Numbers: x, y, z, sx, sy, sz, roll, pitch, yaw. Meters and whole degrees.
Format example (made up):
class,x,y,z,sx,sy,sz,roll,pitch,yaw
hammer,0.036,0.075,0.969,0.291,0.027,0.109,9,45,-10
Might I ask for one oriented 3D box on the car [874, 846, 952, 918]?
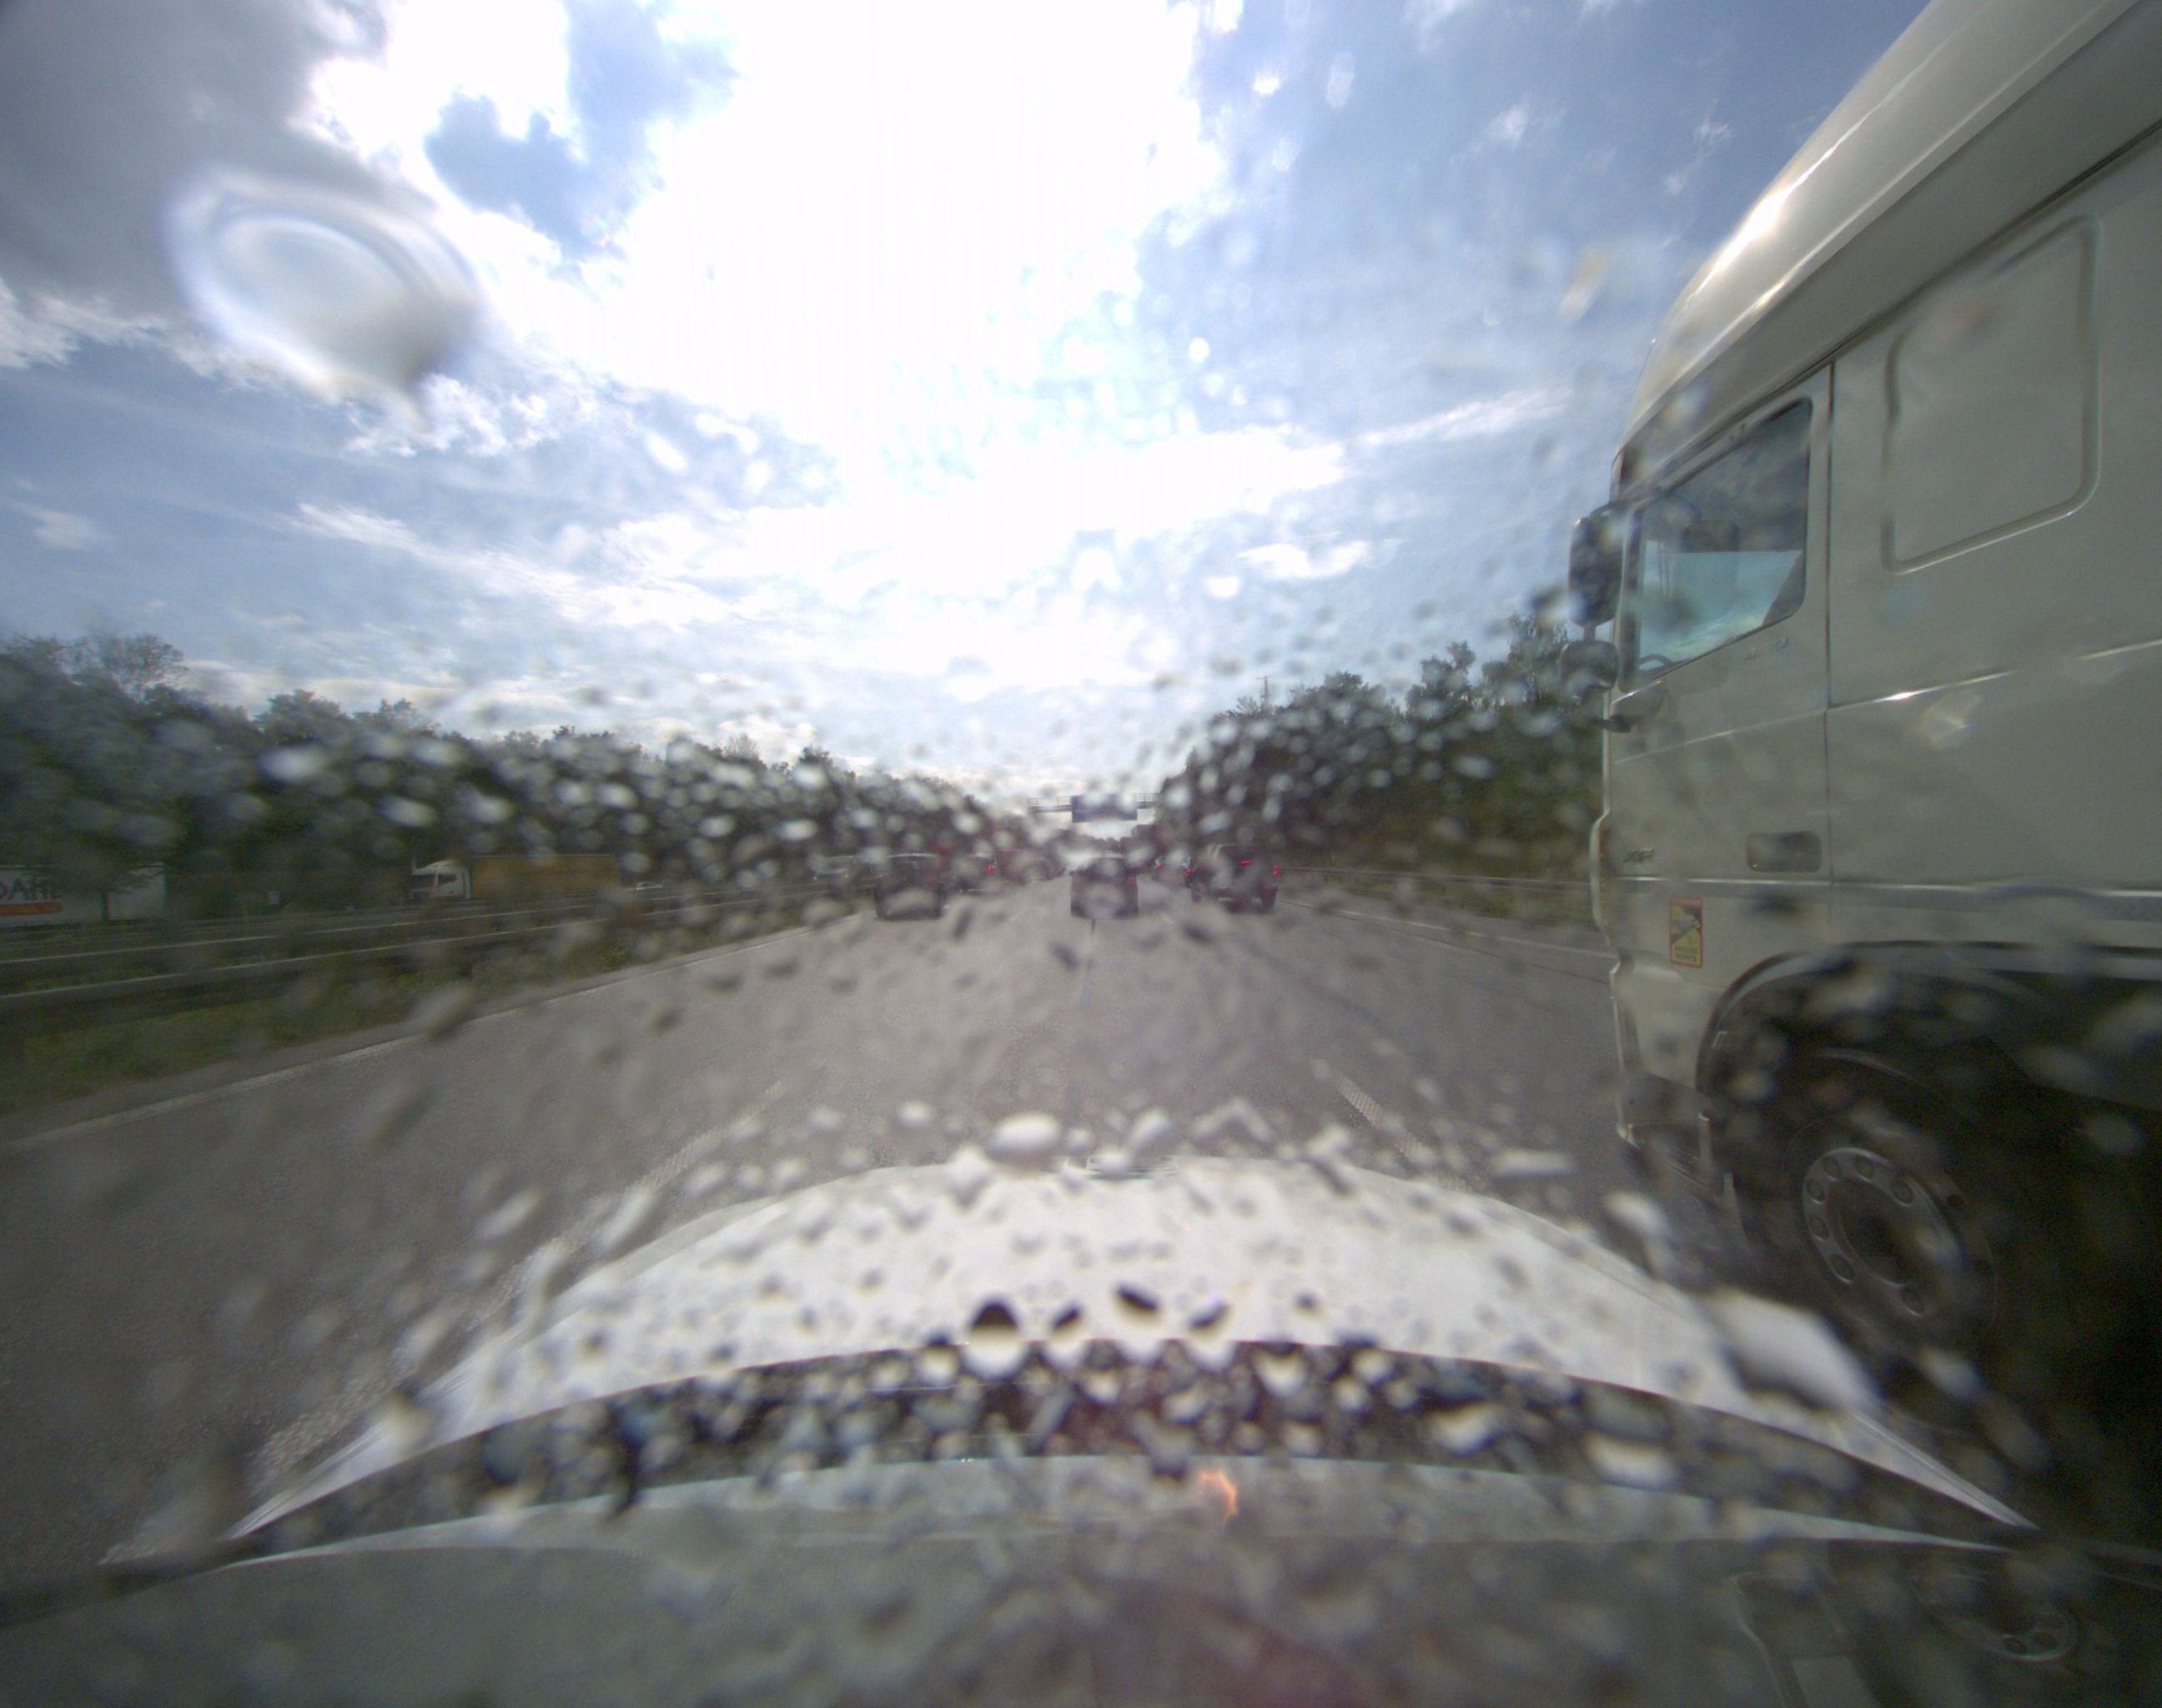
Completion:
class,x,y,z,sx,sy,sz,roll,pitch,yaw
car,-4.567,0.723,22.674,1.690,1.805,3.968,-1,-1,-6

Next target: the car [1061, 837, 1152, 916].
class,x,y,z,sx,sy,sz,roll,pitch,yaw
car,0.631,0.587,22.797,2.267,1.954,4.820,-1,-1,0

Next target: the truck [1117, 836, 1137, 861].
class,x,y,z,sx,sy,sz,roll,pitch,yaw
truck,6.849,-0.807,121.768,2.765,3.632,5.919,-1,-1,2

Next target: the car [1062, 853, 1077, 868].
class,x,y,z,sx,sy,sz,roll,pitch,yaw
car,-1.697,0.962,119.235,1.986,2.115,4.890,-1,-1,2

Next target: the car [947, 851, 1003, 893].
class,x,y,z,sx,sy,sz,roll,pitch,yaw
car,-4.524,0.753,35.286,1.904,1.636,4.613,-2,-1,-2

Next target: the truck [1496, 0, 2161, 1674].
class,x,y,z,sx,sy,sz,roll,pitch,yaw
truck,3.505,-0.524,0.500,3.273,3.891,6.396,0,0,0

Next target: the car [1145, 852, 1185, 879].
class,x,y,z,sx,sy,sz,roll,pitch,yaw
car,4.820,0.669,47.294,1.859,1.516,3.974,-1,-1,-1

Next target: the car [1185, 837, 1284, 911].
class,x,y,z,sx,sy,sz,roll,pitch,yaw
car,4.408,0.550,24.243,1.935,1.919,5.652,-1,-1,1

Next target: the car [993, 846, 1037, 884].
class,x,y,z,sx,sy,sz,roll,pitch,yaw
car,-3.747,0.605,47.009,1.971,2.054,4.758,-1,-1,2

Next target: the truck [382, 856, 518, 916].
class,x,y,z,sx,sy,sz,roll,pitch,yaw
truck,-46.358,2.253,60.161,3.760,4.117,7.073,-1,-1,14

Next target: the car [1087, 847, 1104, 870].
class,x,y,z,sx,sy,sz,roll,pitch,yaw
car,1.801,0.577,102.007,1.986,2.746,5.261,-1,-1,2

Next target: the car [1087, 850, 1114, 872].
class,x,y,z,sx,sy,sz,roll,pitch,yaw
car,1.424,0.517,60.773,1.859,1.516,3.974,-1,-1,-1

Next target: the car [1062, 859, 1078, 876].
class,x,y,z,sx,sy,sz,roll,pitch,yaw
car,-1.442,1.807,110.319,1.986,2.115,4.890,-1,-1,2

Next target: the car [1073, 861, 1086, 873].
class,x,y,z,sx,sy,sz,roll,pitch,yaw
car,-0.294,2.190,139.532,1.986,2.115,4.890,-1,-1,2

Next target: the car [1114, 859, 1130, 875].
class,x,y,z,sx,sy,sz,roll,pitch,yaw
car,5.438,1.730,108.808,1.986,2.115,4.890,-1,-1,2

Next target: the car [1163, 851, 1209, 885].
class,x,y,z,sx,sy,sz,roll,pitch,yaw
car,4.880,0.657,38.333,1.586,1.516,3.974,-1,-1,-1

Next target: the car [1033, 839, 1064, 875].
class,x,y,z,sx,sy,sz,roll,pitch,yaw
car,-2.497,0.239,63.414,1.986,2.615,5.261,-1,-1,2

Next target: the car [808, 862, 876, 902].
class,x,y,z,sx,sy,sz,roll,pitch,yaw
car,-12.285,1.388,42.253,1.946,1.891,5.058,-1,-1,1

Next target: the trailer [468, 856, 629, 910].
class,x,y,z,sx,sy,sz,roll,pitch,yaw
trailer,-44.192,2.312,68.346,3.760,4.117,11.771,-1,-1,15

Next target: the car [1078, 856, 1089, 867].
class,x,y,z,sx,sy,sz,roll,pitch,yaw
car,0.558,1.585,164.679,1.986,2.115,4.890,-1,-1,2

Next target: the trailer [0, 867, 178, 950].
class,x,y,z,sx,sy,sz,roll,pitch,yaw
trailer,-50.856,2.624,38.502,3.767,3.649,10.523,-2,0,8

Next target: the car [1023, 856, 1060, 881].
class,x,y,z,sx,sy,sz,roll,pitch,yaw
car,-2.559,0.926,53.556,1.986,1.565,4.758,-1,-1,2

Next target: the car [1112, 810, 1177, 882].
class,x,y,z,sx,sy,sz,roll,pitch,yaw
car,5.519,-0.564,74.589,4.391,5.830,16.810,-1,-1,-1
